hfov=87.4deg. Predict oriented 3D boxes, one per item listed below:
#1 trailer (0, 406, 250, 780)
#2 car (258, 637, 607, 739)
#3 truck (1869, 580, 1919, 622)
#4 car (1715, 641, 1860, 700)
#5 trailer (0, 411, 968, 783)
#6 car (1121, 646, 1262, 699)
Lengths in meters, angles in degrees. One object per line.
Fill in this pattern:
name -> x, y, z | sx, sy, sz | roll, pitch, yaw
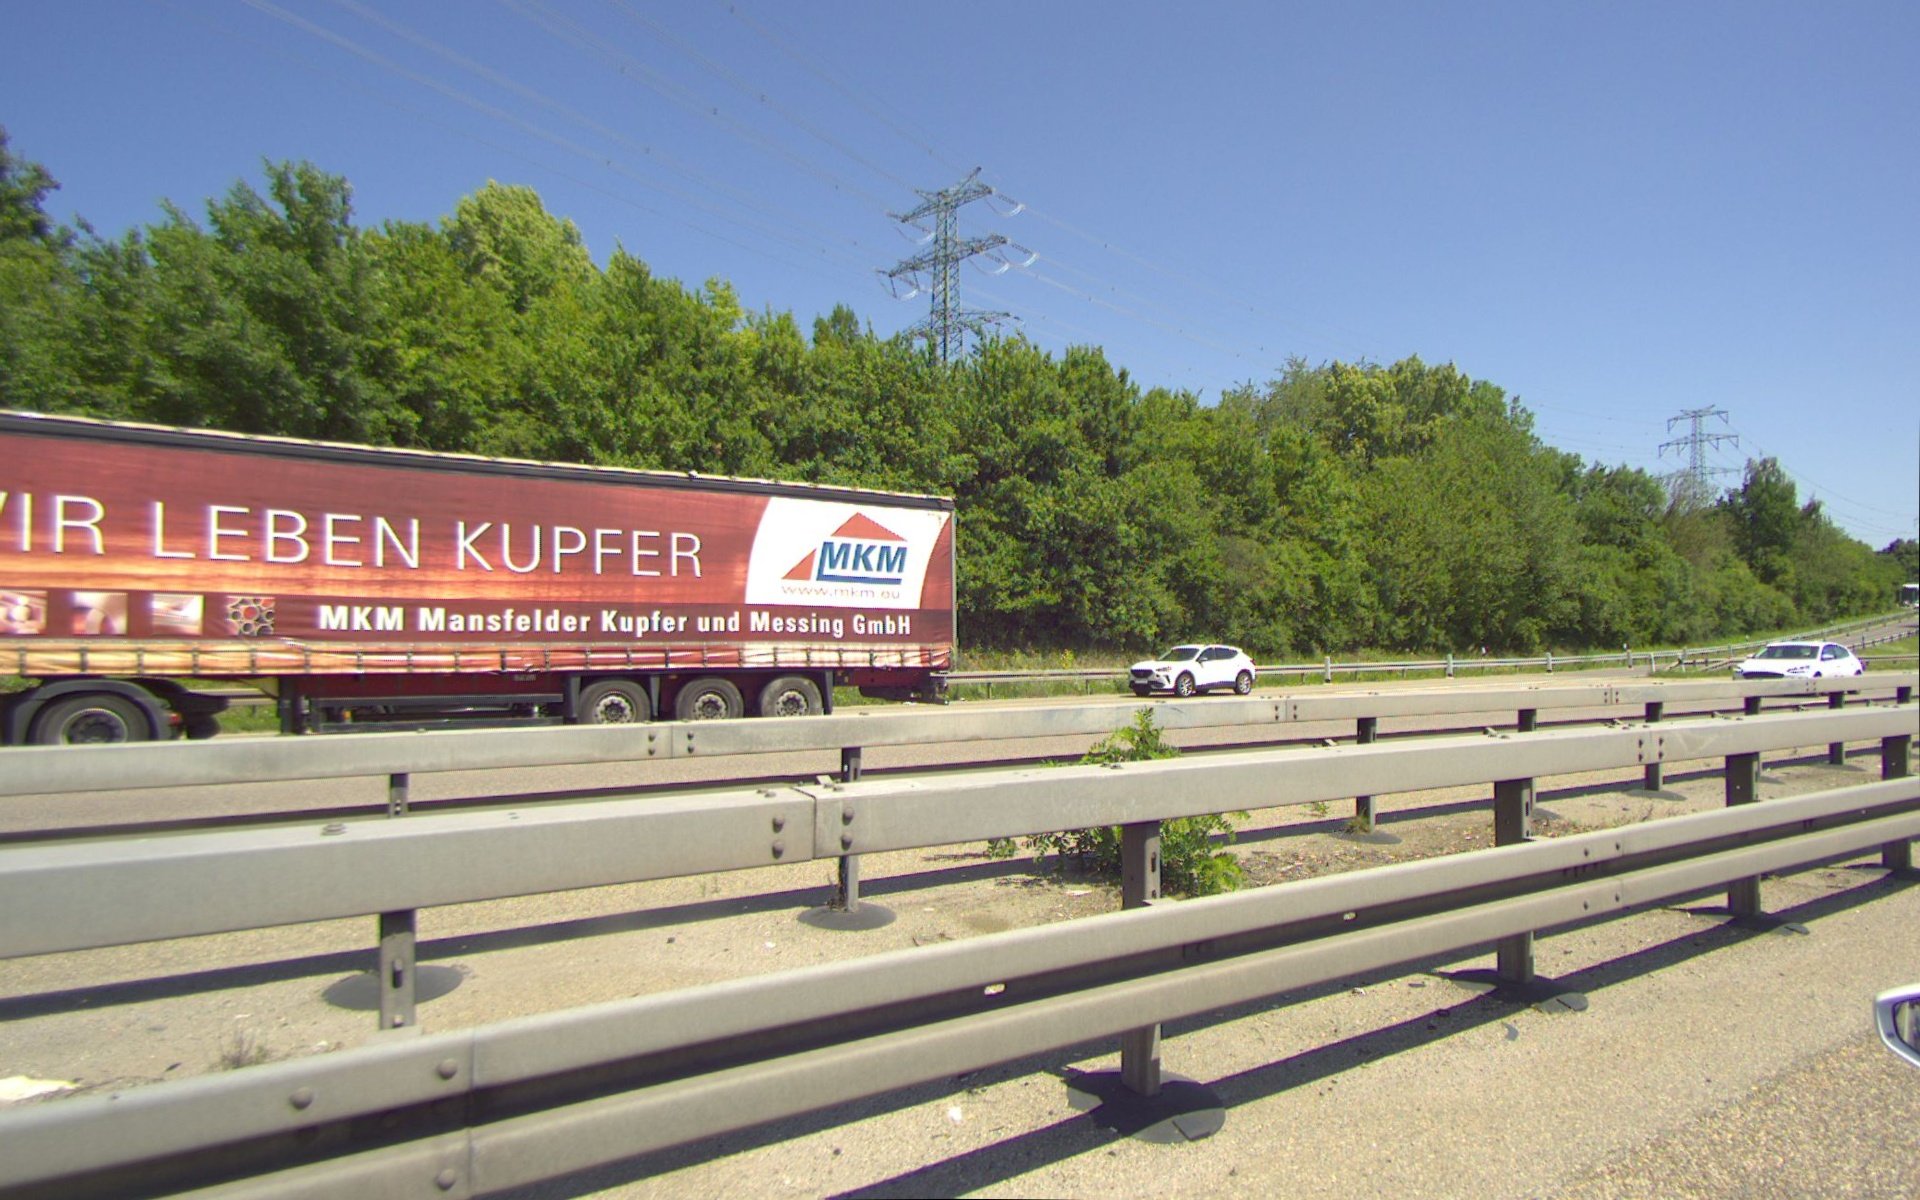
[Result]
trailer -> -12.001, -0.050, 11.450 | 6.060, 4.028, 2.744 | 1, -3, -31
car -> -9.225, 1.527, 17.980 | 5.211, 1.596, 1.985 | 2, -4, -29
truck -> 172.100, 0.246, 184.440 | 4.602, 7.323, 13.619 | 2, 0, 29
car -> 22.890, 1.930, 27.751 | 4.257, 1.486, 1.841 | 2, -2, -32
trailer -> -6.787, 0.101, 14.622 | 14.510, 4.028, 2.750 | 1, -3, -31
car -> 6.868, 2.106, 29.642 | 4.303, 1.474, 1.674 | 2, -3, -36
